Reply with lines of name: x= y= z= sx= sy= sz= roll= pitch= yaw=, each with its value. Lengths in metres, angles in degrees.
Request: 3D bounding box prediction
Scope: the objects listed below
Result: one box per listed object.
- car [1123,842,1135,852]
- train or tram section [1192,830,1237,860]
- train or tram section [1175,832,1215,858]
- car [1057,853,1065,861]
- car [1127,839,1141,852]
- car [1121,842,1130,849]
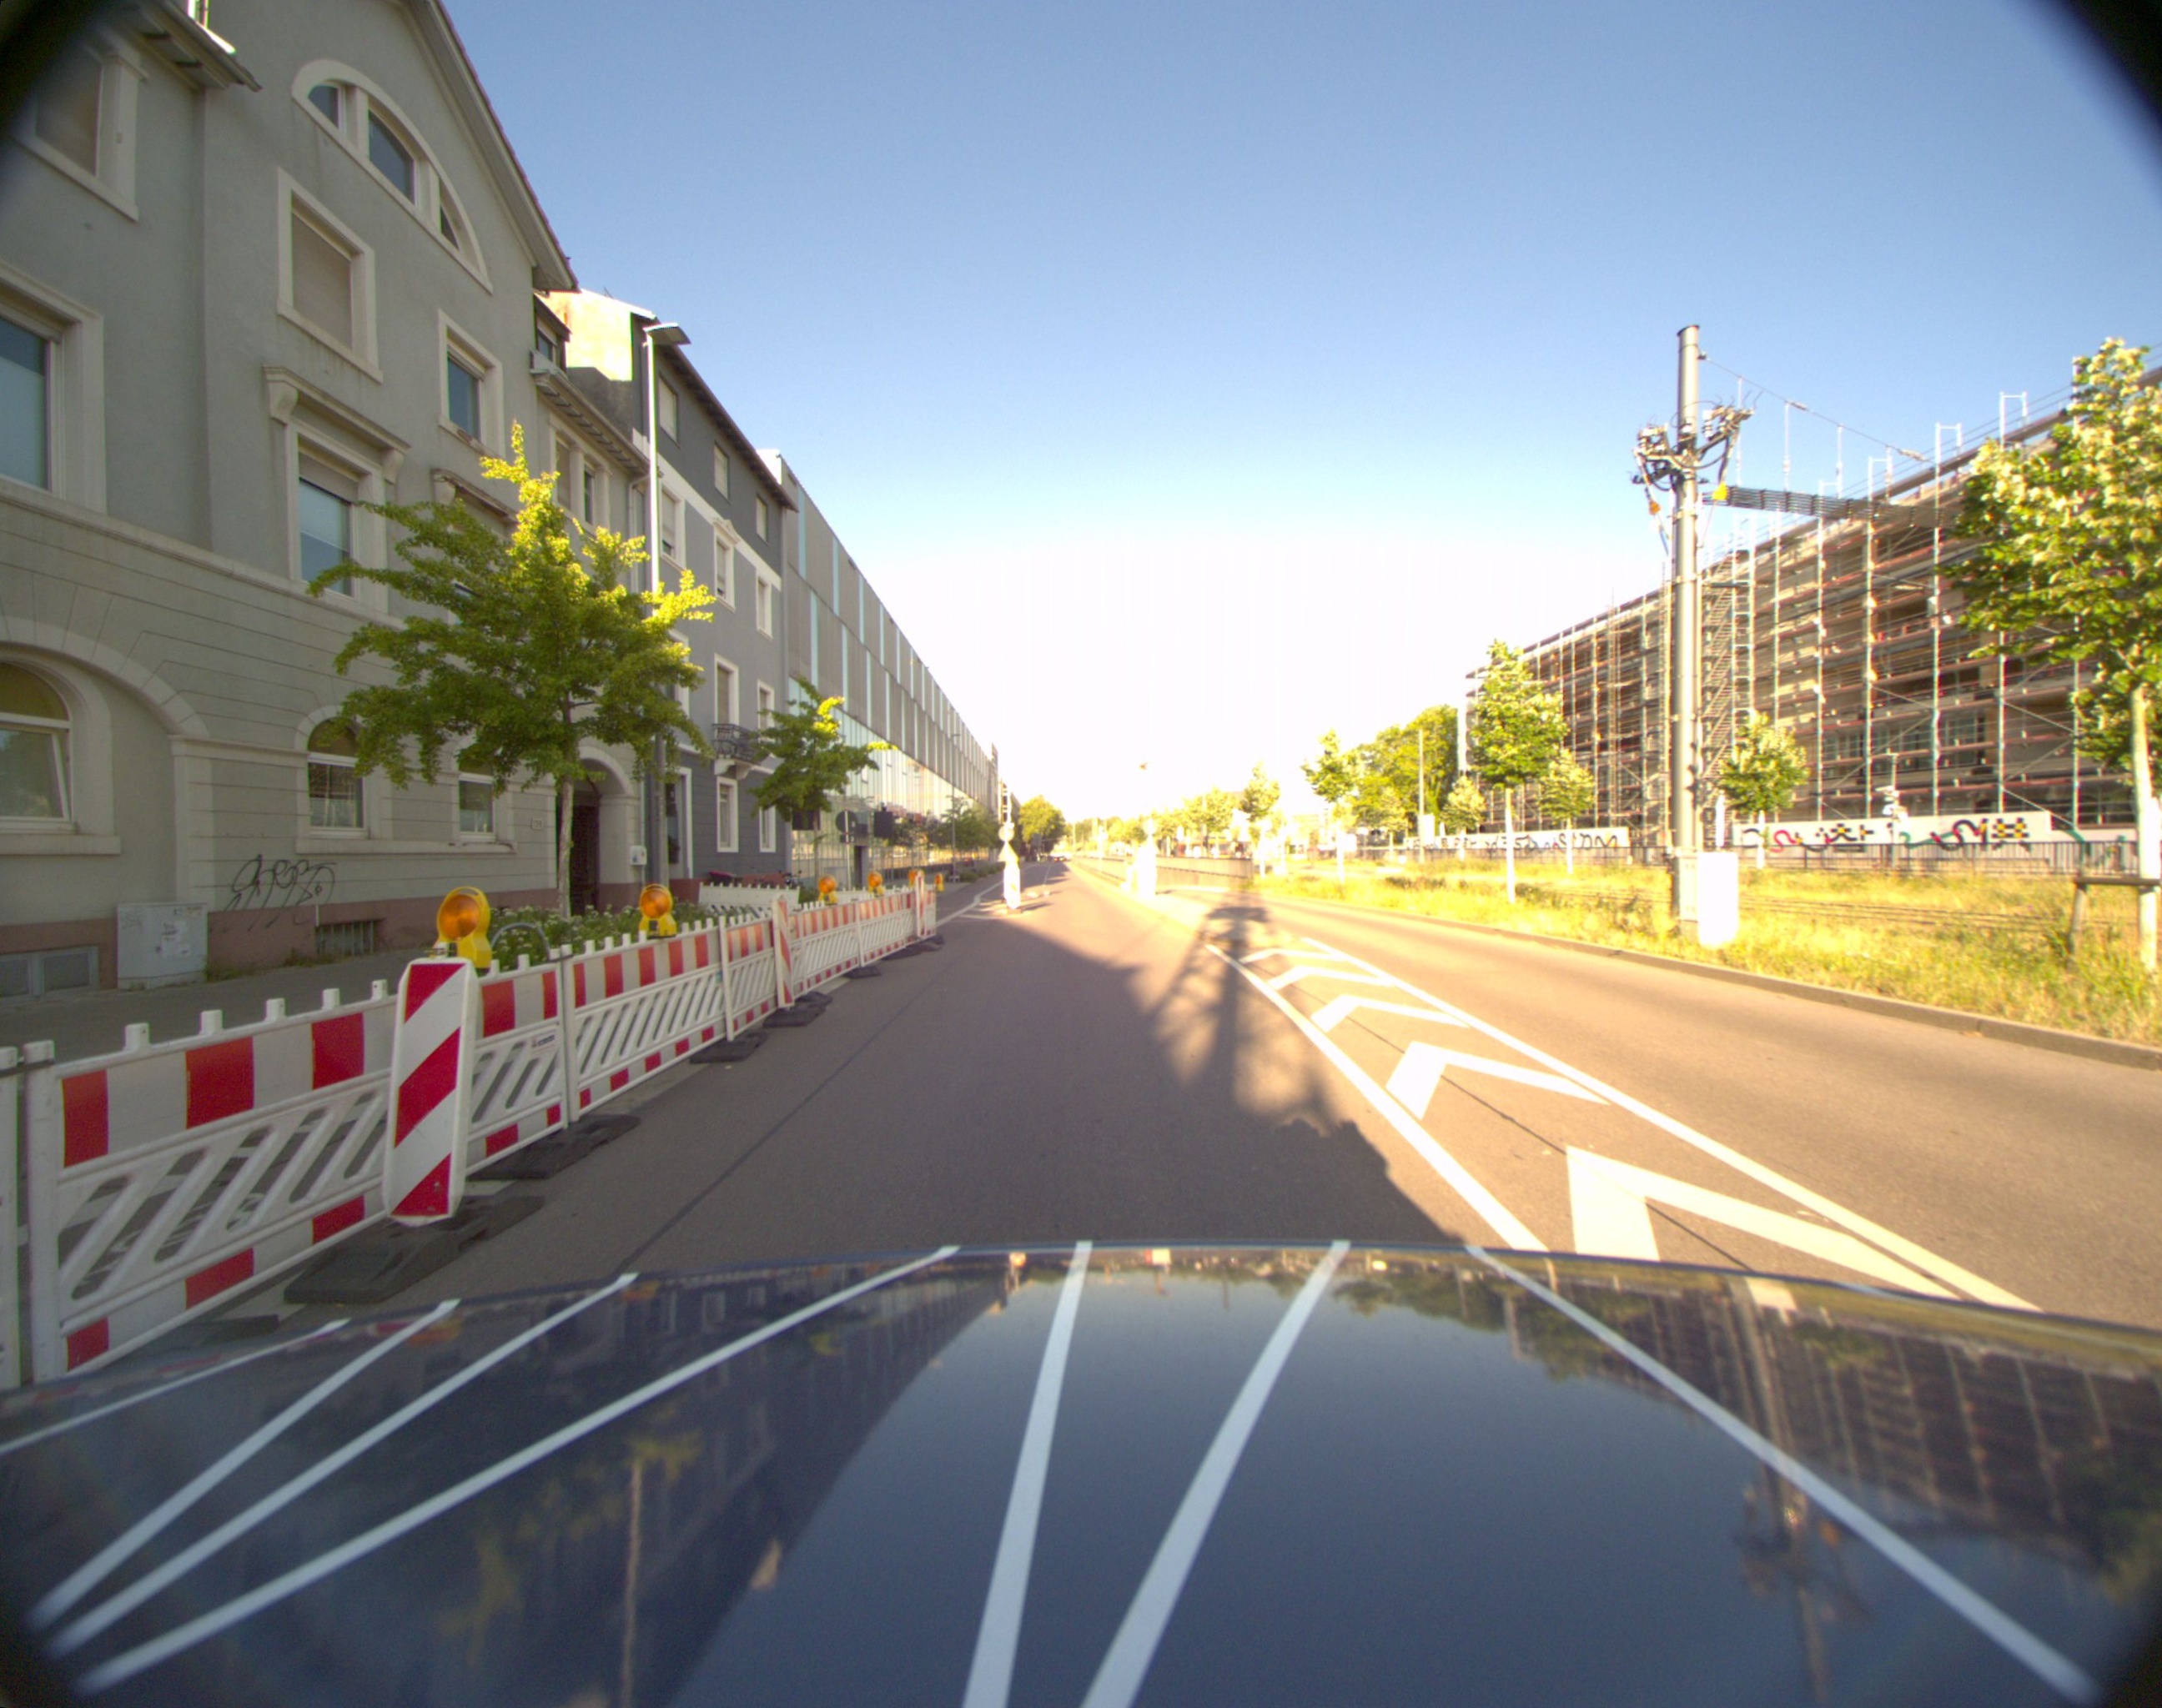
car: x=8.967 y=-1.336 z=141.780 sx=1.998 sy=1.740 sz=3.999 roll=-2 pitch=1 yaw=1
train or tram section: x=16.366 y=-1.105 z=94.256 sx=2.954 sy=3.378 sz=12.630 roll=-2 pitch=1 yaw=-2
train or tram section: x=15.986 y=-1.262 z=107.959 sx=2.954 sy=3.378 sz=14.761 roll=-2 pitch=1 yaw=-2
car: x=-4.947 y=0.788 z=187.275 sx=1.941 sy=2.002 sz=3.825 roll=-1 pitch=0 yaw=-3
car: x=8.584 y=-1.412 z=124.432 sx=1.998 sy=2.002 sz=3.999 roll=-2 pitch=1 yaw=1
car: x=11.354 y=-2.150 z=192.858 sx=1.998 sy=1.740 sz=3.999 roll=-2 pitch=1 yaw=1
